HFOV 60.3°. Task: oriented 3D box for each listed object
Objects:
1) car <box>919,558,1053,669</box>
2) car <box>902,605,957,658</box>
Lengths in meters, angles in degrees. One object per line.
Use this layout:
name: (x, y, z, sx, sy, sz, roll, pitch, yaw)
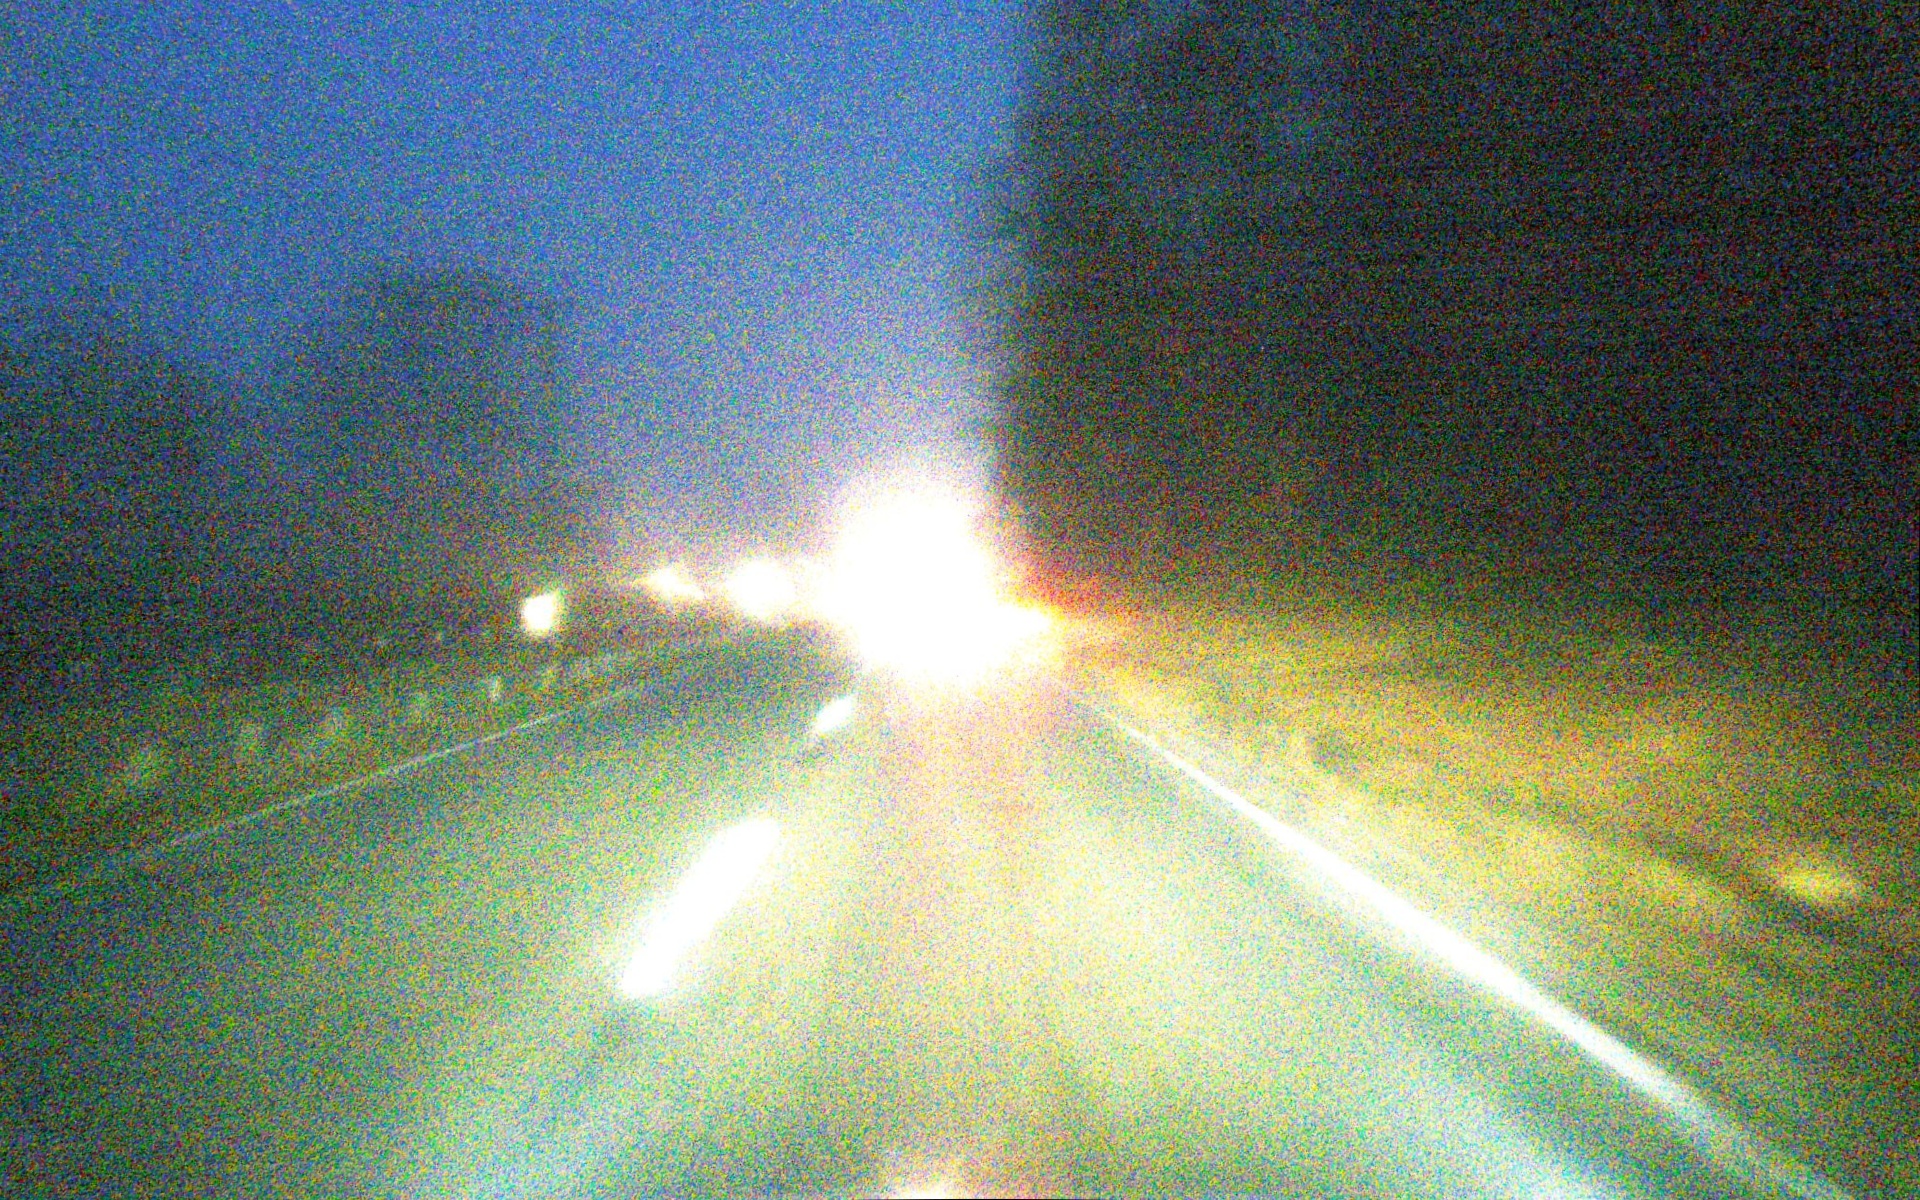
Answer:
car: (0.466, 0.263, 32.757, 2.407, 1.993, 4.911, -1, 0, 0)
car: (-1.334, 1.334, 70.724, 1.955, 2.048, 3.996, -4, -1, -5)
